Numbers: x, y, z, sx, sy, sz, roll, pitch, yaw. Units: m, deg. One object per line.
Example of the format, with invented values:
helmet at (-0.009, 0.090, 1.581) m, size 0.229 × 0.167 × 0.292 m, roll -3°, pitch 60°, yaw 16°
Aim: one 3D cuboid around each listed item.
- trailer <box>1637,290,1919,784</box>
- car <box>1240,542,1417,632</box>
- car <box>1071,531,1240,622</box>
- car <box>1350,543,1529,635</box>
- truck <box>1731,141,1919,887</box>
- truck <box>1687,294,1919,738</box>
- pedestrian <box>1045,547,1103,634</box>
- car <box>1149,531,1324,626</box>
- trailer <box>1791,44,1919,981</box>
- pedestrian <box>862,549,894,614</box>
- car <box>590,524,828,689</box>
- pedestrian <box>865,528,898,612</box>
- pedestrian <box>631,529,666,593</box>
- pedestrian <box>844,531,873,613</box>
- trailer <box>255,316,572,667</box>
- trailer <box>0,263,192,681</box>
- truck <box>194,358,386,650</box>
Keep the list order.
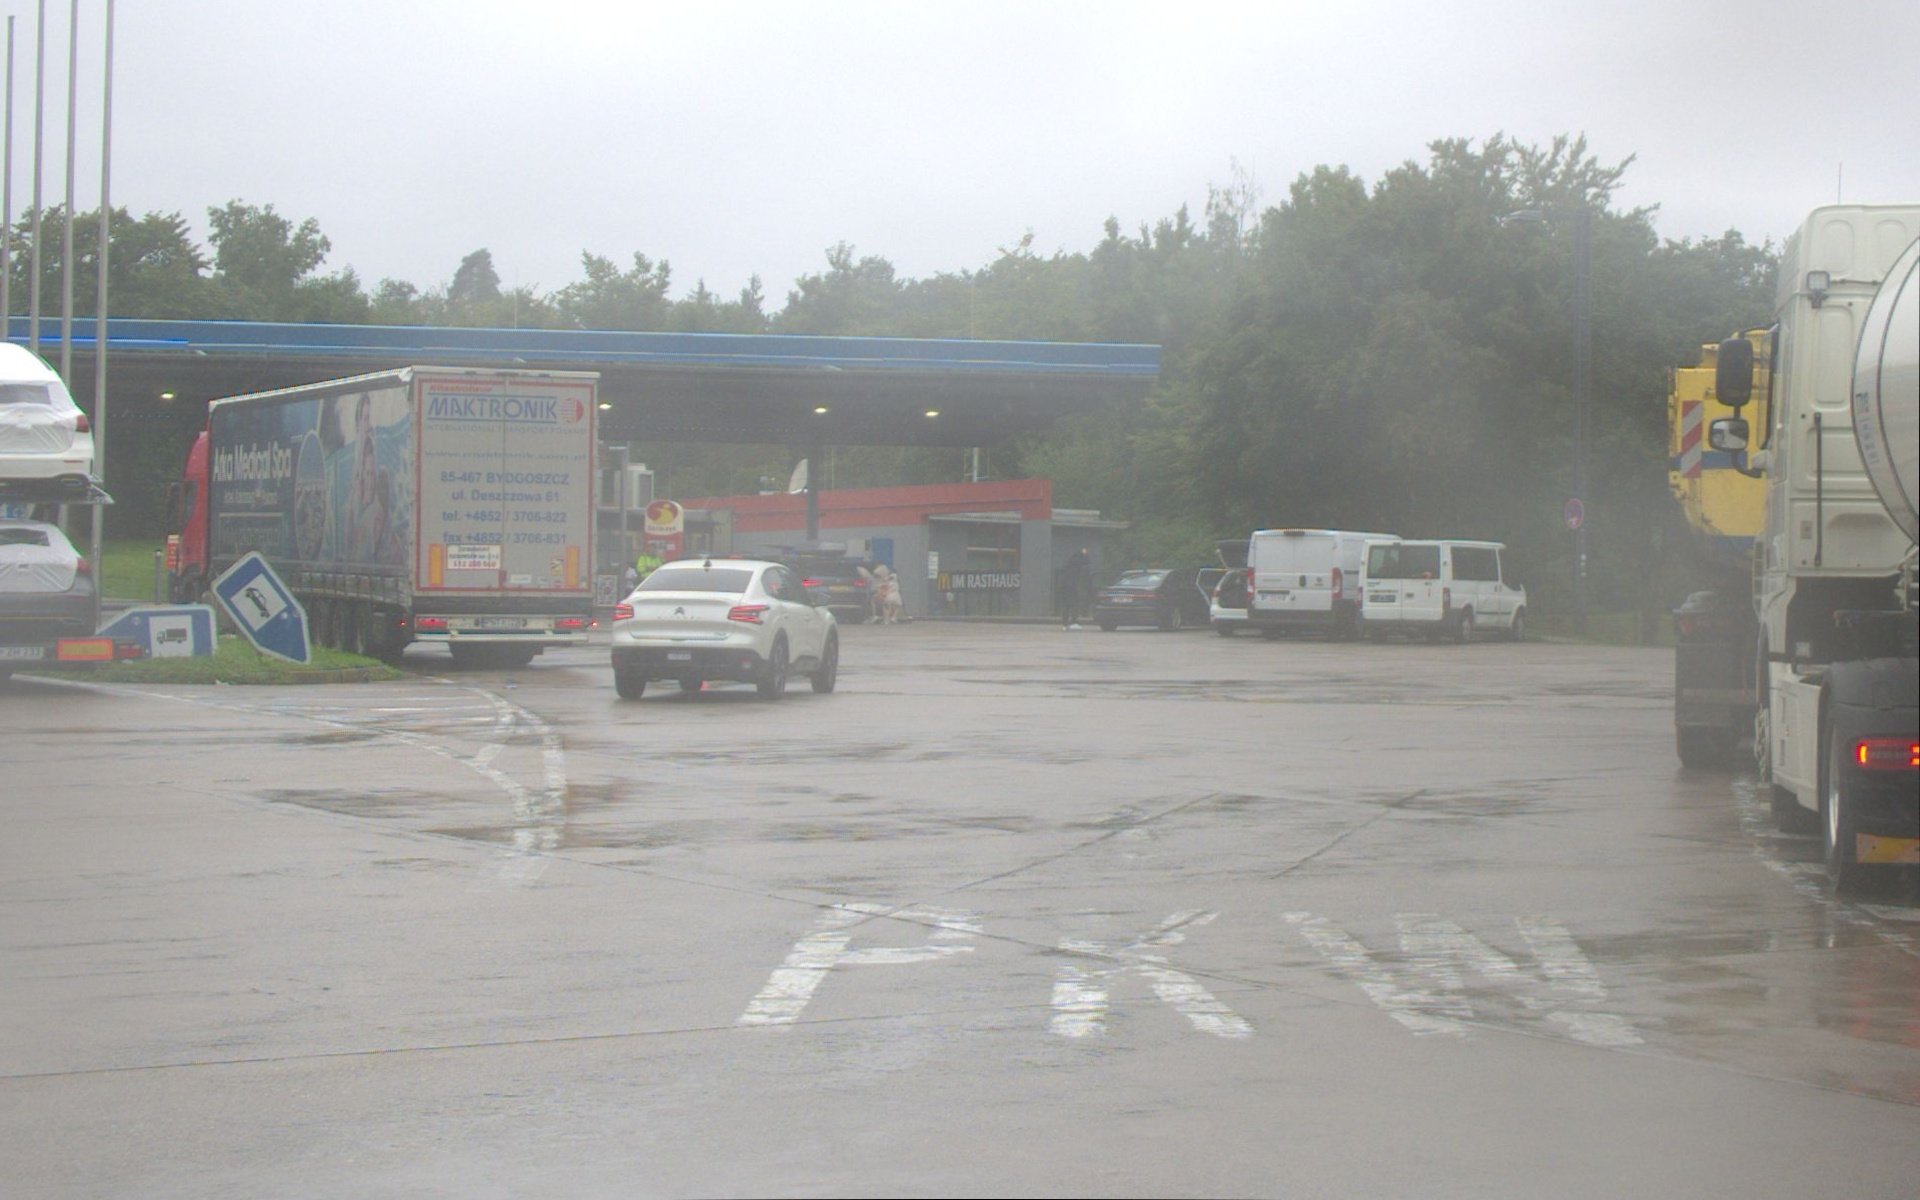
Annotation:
trailer at (6.796, -0.485, 27.432) m, size 2.184 × 3.381 × 7.558 m, roll 1°, pitch 1°, yaw 15°
car at (7.403, -0.277, 68.726) m, size 2.117 × 1.722 × 3.994 m, roll 1°, pitch 1°, yaw 29°
car at (4.385, -0.534, 76.436) m, size 2.117 × 1.930 × 4.185 m, roll 1°, pitch 1°, yaw 29°
car at (9.355, -0.228, 66.846) m, size 2.117 × 1.722 × 3.994 m, roll 1°, pitch 1°, yaw 29°
truck at (5.419, -0.417, 18.355) m, size 2.147 × 3.501 × 4.644 m, roll 1°, pitch 1°, yaw 8°
truck at (7.985, -0.758, 31.833) m, size 2.182 × 3.815 × 4.139 m, roll 1°, pitch 1°, yaw 15°
pedestrian at (2.541, -0.224, 76.786) m, size 0.955 × 1.913 × 1.087 m, roll 1°, pitch 1°, yaw 21°
car at (5.857, -0.460, 72.497) m, size 2.117 × 1.930 × 4.185 m, roll 1°, pitch 1°, yaw 29°
trailer at (4.467, -0.321, 11.730) m, size 2.132 × 3.429 × 10.250 m, roll 1°, pitch 1°, yaw 8°
pedestrian at (-1.957, -0.440, 82.109) m, size 0.608 × 1.534 × 0.595 m, roll 1°, pitch -1°, yaw -15°
car at (-2.686, 0.058, 37.702) m, size 1.994 × 1.673 × 3.999 m, roll 1°, pitch 0°, yaw 5°
pedestrian at (-1.932, -0.741, 84.861) m, size 0.669 × 2.007 × 0.742 m, roll 3°, pitch -2°, yaw 2°
pedestrian at (-7.805, -0.974, 86.090) m, size 0.718 × 1.516 × 0.742 m, roll 3°, pitch -2°, yaw 2°
pedestrian at (-2.542, -0.699, 86.065) m, size 0.586 × 2.007 × 0.637 m, roll 3°, pitch -3°, yaw -7°
trailer at (-8.078, -1.451, 49.635) m, size 1.993 × 4.544 × 9.811 m, roll 1°, pitch 0°, yaw -24°
trailer at (-12.241, -1.427, 39.703) m, size 3.215 × 4.175 × 11.530 m, roll 2°, pitch 1°, yaw -30°
truck at (-11.025, -1.513, 56.307) m, size 1.987 × 4.534 × 4.796 m, roll 1°, pitch 0°, yaw -24°
